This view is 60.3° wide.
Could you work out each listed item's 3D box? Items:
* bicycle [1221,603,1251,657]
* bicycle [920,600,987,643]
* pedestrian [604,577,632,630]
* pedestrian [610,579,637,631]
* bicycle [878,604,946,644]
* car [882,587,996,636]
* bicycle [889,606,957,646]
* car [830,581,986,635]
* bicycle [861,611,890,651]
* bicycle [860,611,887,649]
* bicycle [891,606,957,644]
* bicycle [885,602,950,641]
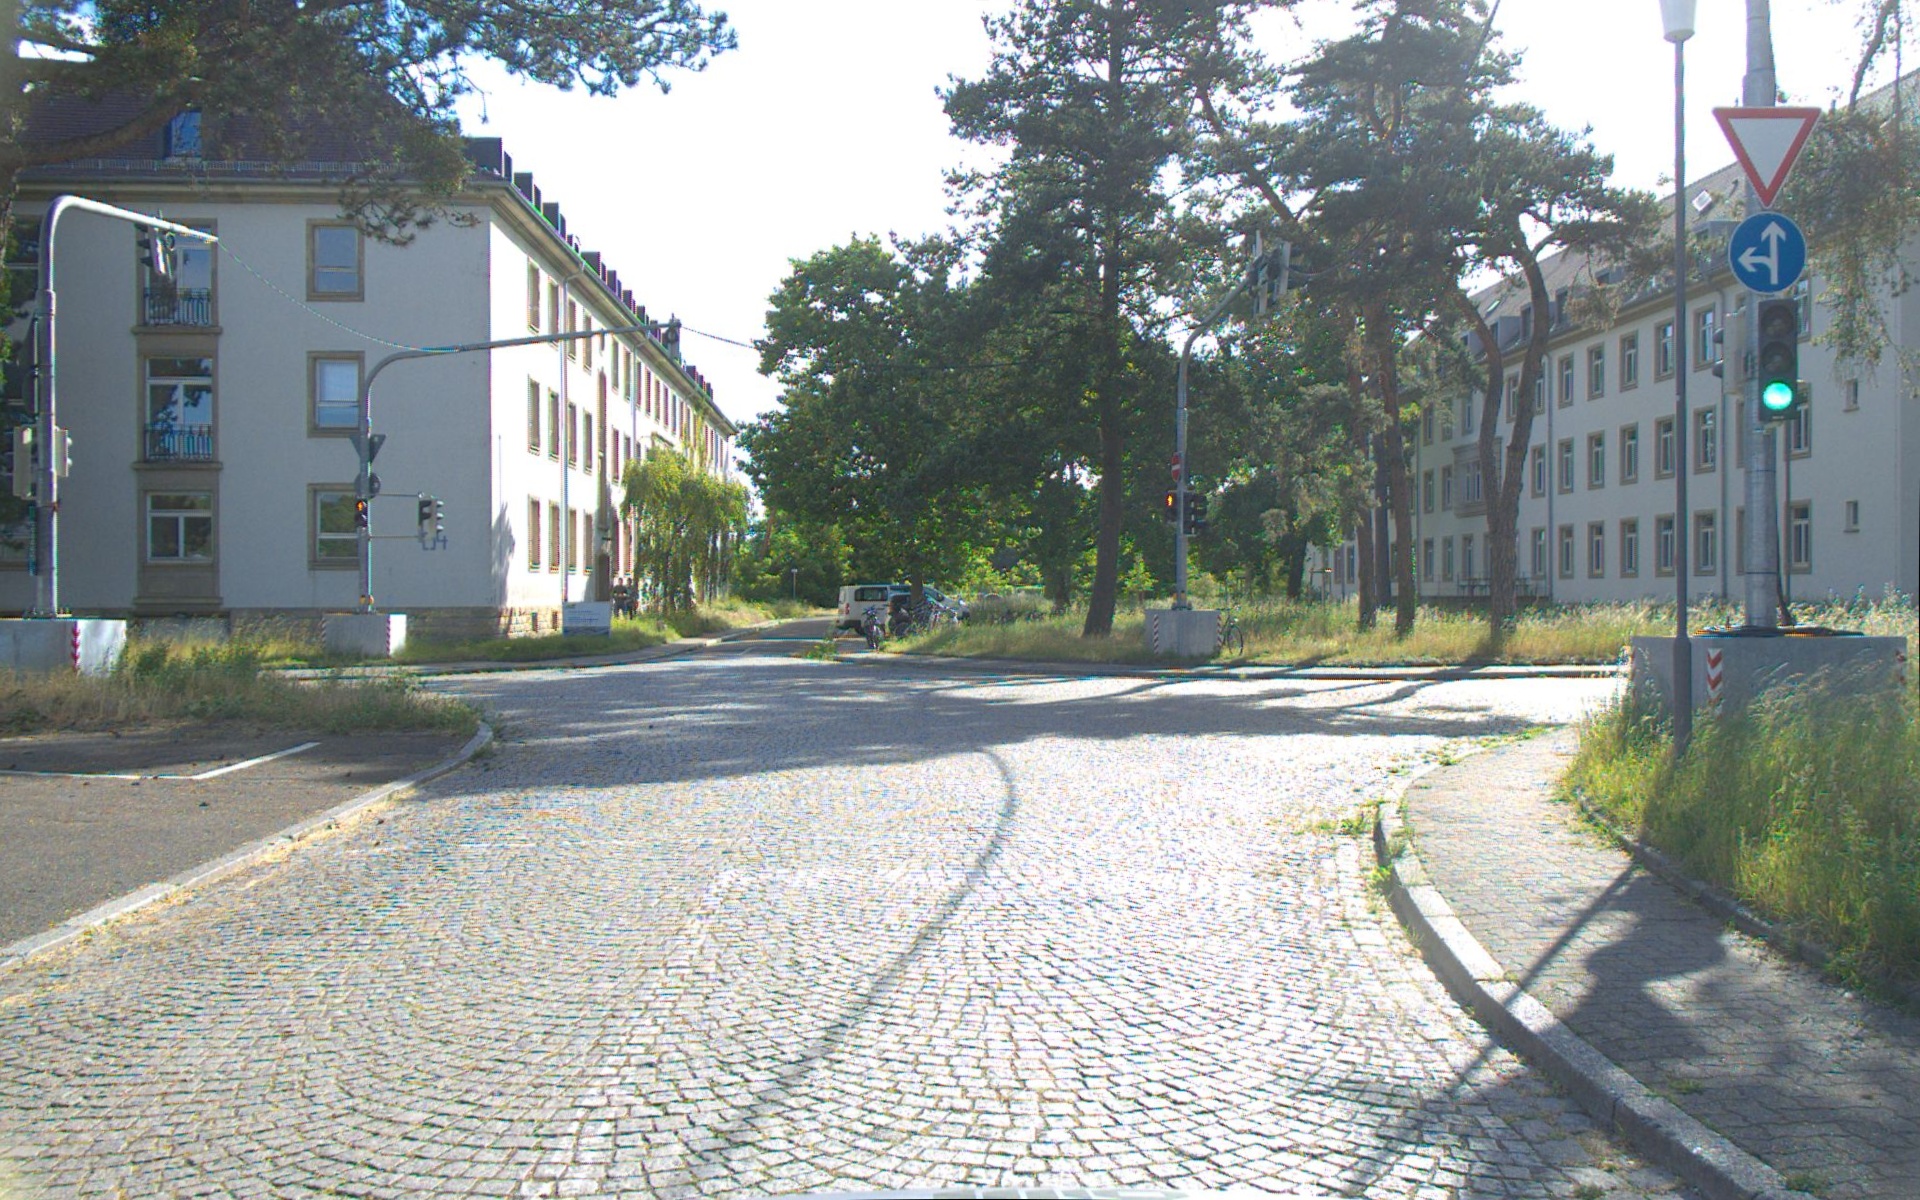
[{"bbox_3d":[5.777,0.621,34.637,0.456,1.099,1.174,0,0,1],"label":"bicycle"},{"bbox_3d":[-0.192,0.620,47.988,1.903,1.257,0.485,0,0,-6],"label":"bicycle"},{"bbox_3d":[-11.980,0.135,57.940,0.794,1.849,0.555,0,0,8],"label":"pedestrian"},{"bbox_3d":[-12.028,0.172,59.166,0.751,1.849,0.683,0,0,8],"label":"pedestrian"},{"bbox_3d":[-1.397,0.688,48.445,1.920,1.149,0.641,0,0,-30],"label":"bicycle"},{"bbox_3d":[-0.781,0.406,60.229,3.915,1.713,1.843,0,0,-11],"label":"car"},{"bbox_3d":[-1.064,0.737,47.242,1.903,1.149,0.749,0,0,-6],"label":"bicycle"},{"bbox_3d":[-2.061,0.279,64.430,5.822,2.049,2.470,0,0,-10],"label":"car"},{"bbox_3d":[-2.205,0.803,42.907,0.682,0.988,1.859,0,0,-5],"label":"bicycle"},{"bbox_3d":[-2.349,0.790,44.839,0.682,0.988,1.859,0,0,-5],"label":"bicycle"},{"bbox_3d":[-1.010,0.694,46.448,1.818,1.049,0.749,0,0,-6],"label":"bicycle"},{"bbox_3d":[-1.268,0.641,49.541,1.904,1.149,0.646,0,0,-8],"label":"bicycle"}]
